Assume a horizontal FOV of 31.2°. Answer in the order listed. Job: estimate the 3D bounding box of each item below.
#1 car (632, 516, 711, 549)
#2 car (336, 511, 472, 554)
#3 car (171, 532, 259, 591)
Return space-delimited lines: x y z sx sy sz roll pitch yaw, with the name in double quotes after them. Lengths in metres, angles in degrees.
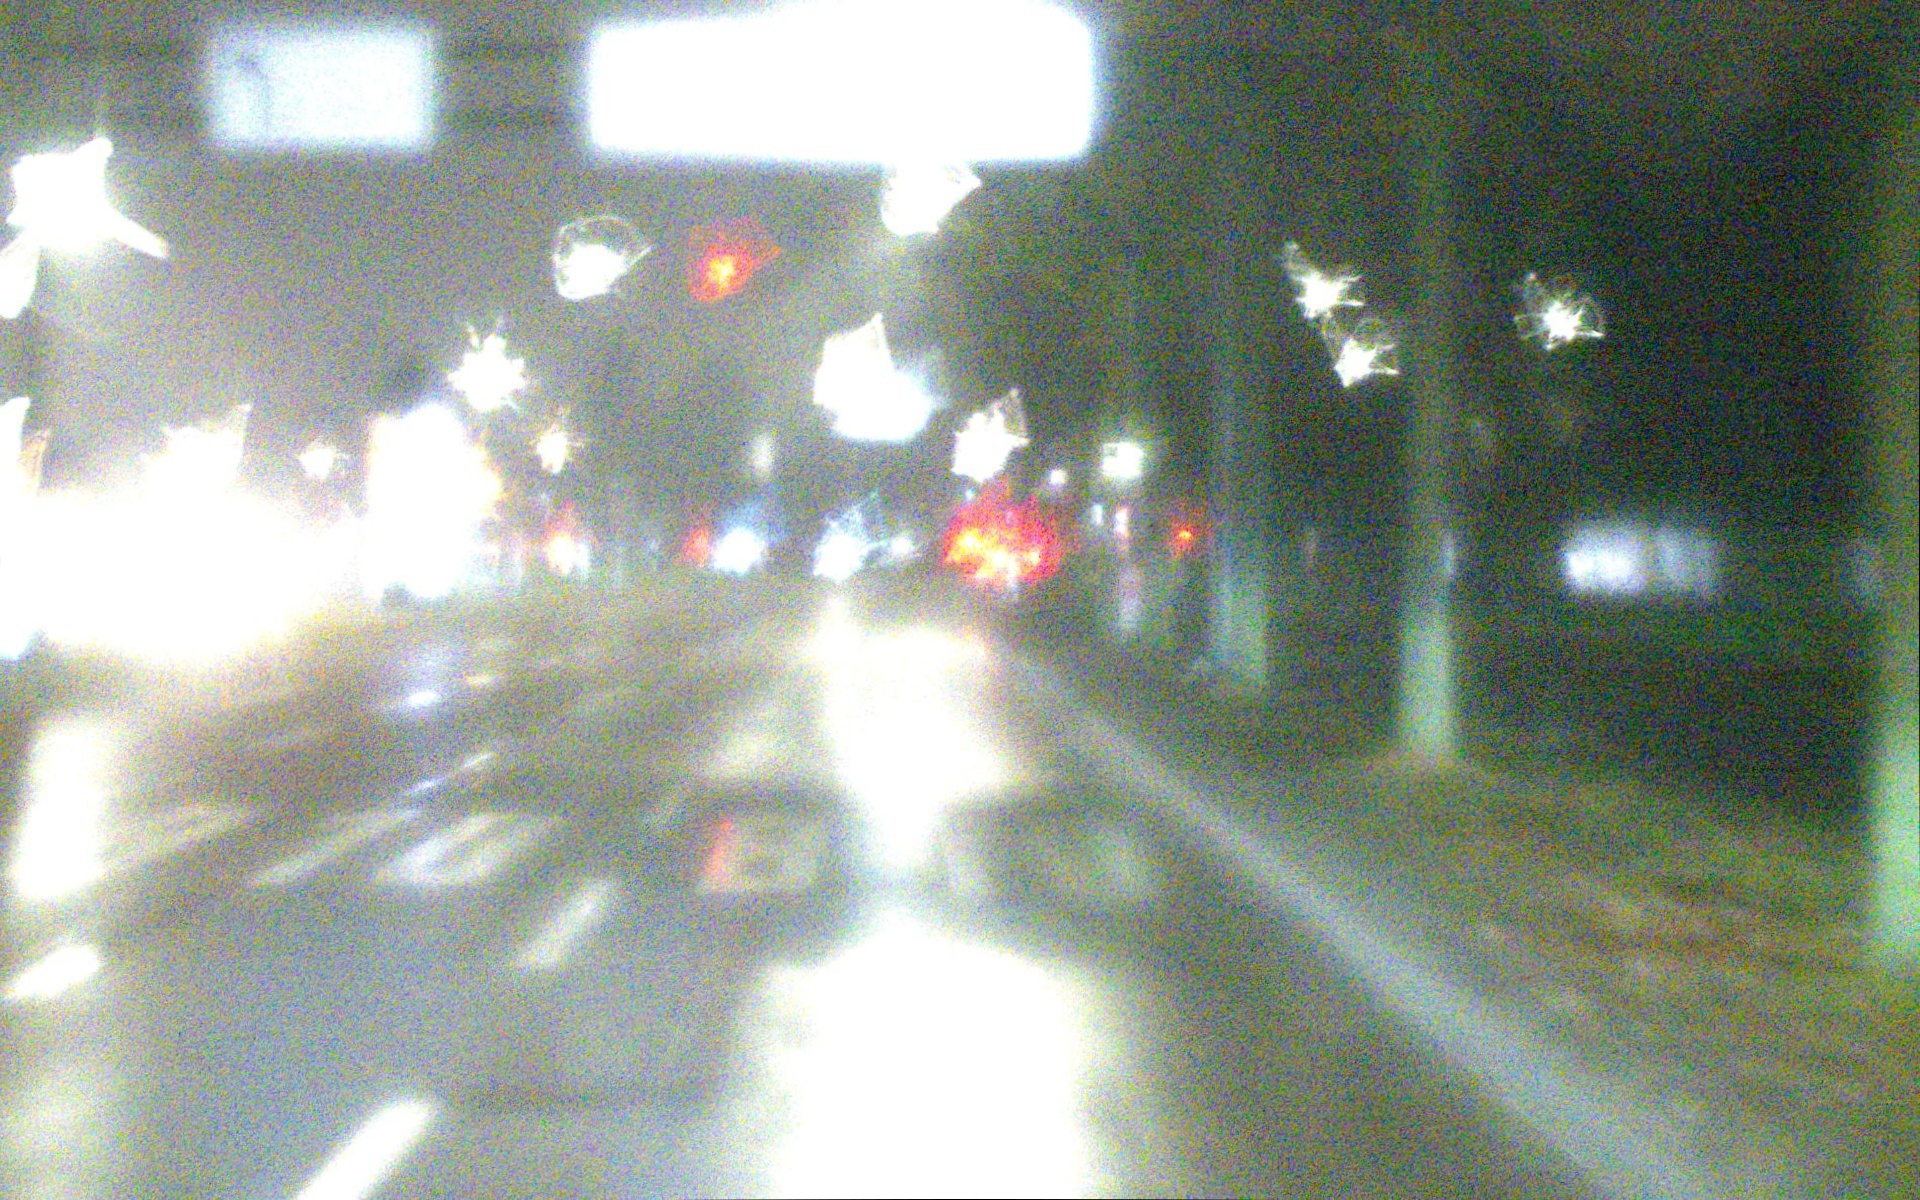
-14.690 -3.446 175.043 3.951 1.573 1.737 1 1 -4 "car"
-28.004 -3.413 173.132 6.292 2.082 2.516 0 2 -25 "car"
-22.841 -1.200 105.542 1.829 1.707 4.441 1 1 -1 "car"
